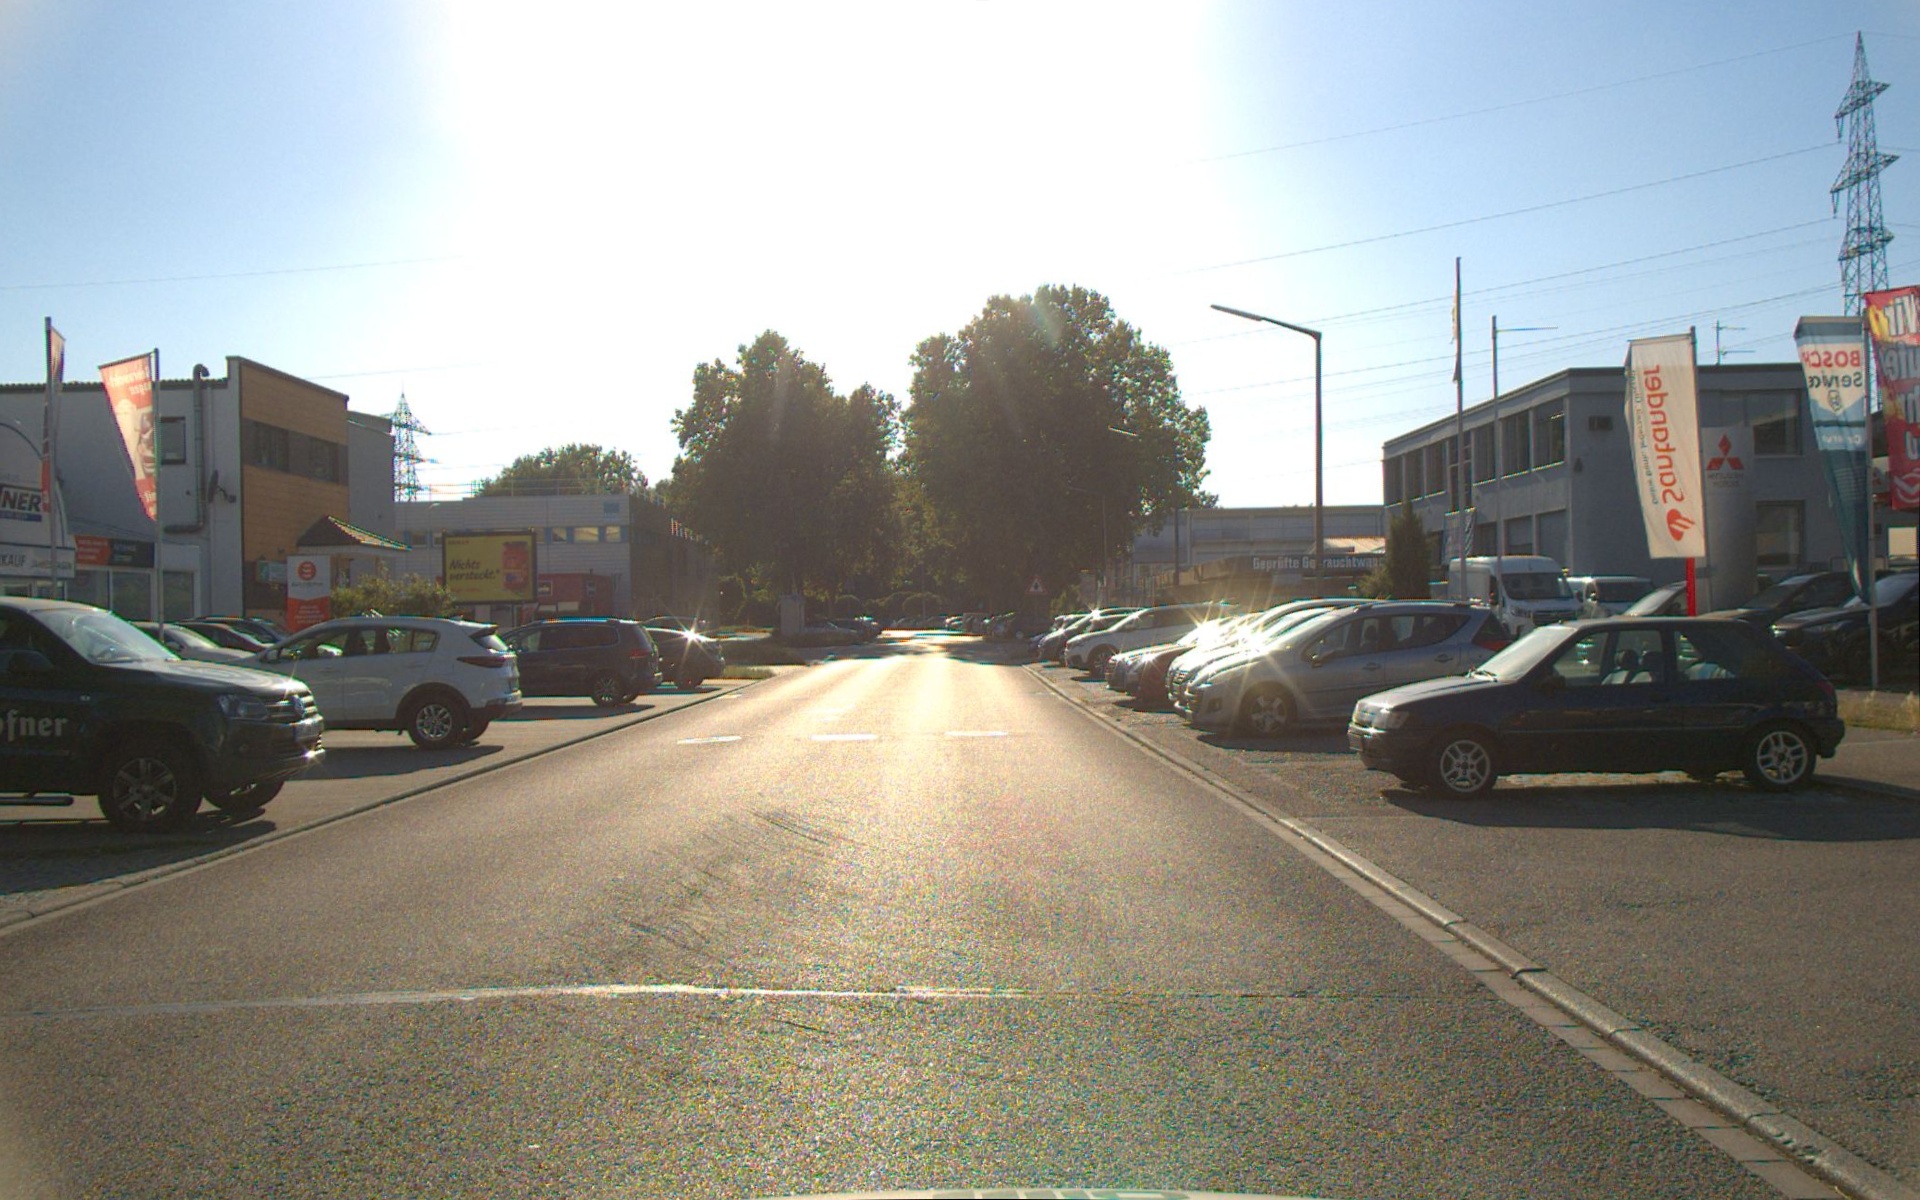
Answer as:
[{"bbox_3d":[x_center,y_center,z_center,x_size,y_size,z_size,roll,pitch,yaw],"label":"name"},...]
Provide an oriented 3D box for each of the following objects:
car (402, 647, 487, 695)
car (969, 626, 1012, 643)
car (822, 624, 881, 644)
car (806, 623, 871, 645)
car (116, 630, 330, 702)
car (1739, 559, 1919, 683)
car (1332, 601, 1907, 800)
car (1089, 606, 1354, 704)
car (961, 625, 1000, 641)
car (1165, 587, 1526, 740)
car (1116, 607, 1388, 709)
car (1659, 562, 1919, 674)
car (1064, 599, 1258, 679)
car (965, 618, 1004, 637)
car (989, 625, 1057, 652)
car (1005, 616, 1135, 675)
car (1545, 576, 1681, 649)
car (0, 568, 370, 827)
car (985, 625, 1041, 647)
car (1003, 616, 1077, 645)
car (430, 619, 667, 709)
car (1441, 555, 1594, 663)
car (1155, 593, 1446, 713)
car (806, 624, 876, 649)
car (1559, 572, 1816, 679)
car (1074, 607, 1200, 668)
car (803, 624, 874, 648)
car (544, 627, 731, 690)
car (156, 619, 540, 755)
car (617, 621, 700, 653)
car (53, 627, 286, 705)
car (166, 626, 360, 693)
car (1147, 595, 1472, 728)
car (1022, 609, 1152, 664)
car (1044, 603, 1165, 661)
[{"bbox_3d":[-20.028,2.725,64.439,1.953,1.604,4.340,0,1,0],"label":"car"},{"bbox_3d":[2.793,3.229,152.846,3.906,1.440,1.826,-2,-1,-1],"label":"car"},{"bbox_3d":[-8.224,2.597,125.454,4.324,1.543,2.000,0,-1,1],"label":"car"},{"bbox_3d":[-8.430,2.376,114.879,4.324,1.543,2.000,0,-1,1],"label":"car"},{"bbox_3d":[-16.552,1.478,37.313,3.905,1.583,1.999,0,-1,-1],"label":"car"},{"bbox_3d":[14.428,0.274,25.409,3.906,1.727,2.000,-3,-1,-1],"label":"car"},{"bbox_3d":[5.168,0.777,13.382,3.904,1.319,1.784,-3,-1,2],"label":"car"},{"bbox_3d":[4.631,0.975,29.796,4.347,1.461,2.135,-3,-1,-1],"label":"car"},{"bbox_3d":[2.043,3.293,165.536,3.906,1.440,1.826,-2,-1,-1],"label":"car"},{"bbox_3d":[4.675,0.761,20.437,3.909,1.615,1.866,-3,-1,-4],"label":"car"},{"bbox_3d":[4.815,0.961,27.607,4.160,1.633,1.743,0,-1,-6],"label":"car"},{"bbox_3d":[14.583,0.313,28.807,3.906,1.689,2.000,-3,-1,-1],"label":"car"},{"bbox_3d":[5.030,0.988,41.885,4.465,1.625,2.200,-4,-1,-4],"label":"car"},{"bbox_3d":[2.511,2.830,169.009,3.906,1.808,1.826,-2,-1,-1],"label":"car"},{"bbox_3d":[3.684,2.262,97.395,3.906,1.440,1.826,-2,-1,-1],"label":"car"},{"bbox_3d":[3.467,1.419,51.841,3.902,1.641,2.001,-3,-2,6],"label":"car"},{"bbox_3d":[17.140,0.351,43.612,1.953,1.831,3.999,0,-1,-1],"label":"car"},{"bbox_3d":[-7.782,0.753,13.439,5.153,1.932,2.201,0,-2,-1],"label":"car"},{"bbox_3d":[3.805,2.590,118.273,3.906,1.440,1.826,-2,-1,-1],"label":"car"},{"bbox_3d":[4.339,1.681,90.076,3.906,1.440,1.999,-2,-1,-1],"label":"car"},{"bbox_3d":[-7.964,1.236,32.385,4.147,1.685,2.200,0,-2,-4],"label":"car"},{"bbox_3d":[14.692,0.302,43.997,1.953,2.671,6.135,0,-1,-1],"label":"car"},{"bbox_3d":[5.164,0.811,25.428,4.028,1.770,1.882,0,-1,-5],"label":"car"},{"bbox_3d":[-7.517,2.322,104.626,4.326,1.543,1.999,0,-1,-2],"label":"car"},{"bbox_3d":[14.137,0.500,32.321,4.060,1.802,2.000,-3,-1,-1],"label":"car"},{"bbox_3d":[5.856,1.255,54.967,3.906,1.681,1.800,-5,-1,0],"label":"car"},{"bbox_3d":[-7.550,2.224,102.317,4.330,1.428,1.997,0,-1,-6],"label":"car"},{"bbox_3d":[-7.870,1.430,40.686,4.227,1.485,2.200,0,-2,-4],"label":"car"},{"bbox_3d":[-7.869,1.107,21.657,4.217,1.685,2.200,0,-2,-4],"label":"car"},{"bbox_3d":[-17.410,2.138,95.605,4.555,1.771,1.991,0,-2,-17],"label":"car"},{"bbox_3d":[-16.578,1.379,34.825,3.905,1.583,1.999,0,-1,-1],"label":"car"},{"bbox_3d":[-16.700,1.424,39.769,3.831,1.583,1.887,0,-1,-1],"label":"car"},{"bbox_3d":[4.822,0.846,23.233,4.028,1.646,2.057,-2,-1,-5],"label":"car"},{"bbox_3d":[4.575,1.325,59.881,4.435,1.702,1.752,-3,-1,-4],"label":"car"},{"bbox_3d":[4.976,1.112,57.247,3.908,1.681,1.741,-4,-1,-3],"label":"car"}]
